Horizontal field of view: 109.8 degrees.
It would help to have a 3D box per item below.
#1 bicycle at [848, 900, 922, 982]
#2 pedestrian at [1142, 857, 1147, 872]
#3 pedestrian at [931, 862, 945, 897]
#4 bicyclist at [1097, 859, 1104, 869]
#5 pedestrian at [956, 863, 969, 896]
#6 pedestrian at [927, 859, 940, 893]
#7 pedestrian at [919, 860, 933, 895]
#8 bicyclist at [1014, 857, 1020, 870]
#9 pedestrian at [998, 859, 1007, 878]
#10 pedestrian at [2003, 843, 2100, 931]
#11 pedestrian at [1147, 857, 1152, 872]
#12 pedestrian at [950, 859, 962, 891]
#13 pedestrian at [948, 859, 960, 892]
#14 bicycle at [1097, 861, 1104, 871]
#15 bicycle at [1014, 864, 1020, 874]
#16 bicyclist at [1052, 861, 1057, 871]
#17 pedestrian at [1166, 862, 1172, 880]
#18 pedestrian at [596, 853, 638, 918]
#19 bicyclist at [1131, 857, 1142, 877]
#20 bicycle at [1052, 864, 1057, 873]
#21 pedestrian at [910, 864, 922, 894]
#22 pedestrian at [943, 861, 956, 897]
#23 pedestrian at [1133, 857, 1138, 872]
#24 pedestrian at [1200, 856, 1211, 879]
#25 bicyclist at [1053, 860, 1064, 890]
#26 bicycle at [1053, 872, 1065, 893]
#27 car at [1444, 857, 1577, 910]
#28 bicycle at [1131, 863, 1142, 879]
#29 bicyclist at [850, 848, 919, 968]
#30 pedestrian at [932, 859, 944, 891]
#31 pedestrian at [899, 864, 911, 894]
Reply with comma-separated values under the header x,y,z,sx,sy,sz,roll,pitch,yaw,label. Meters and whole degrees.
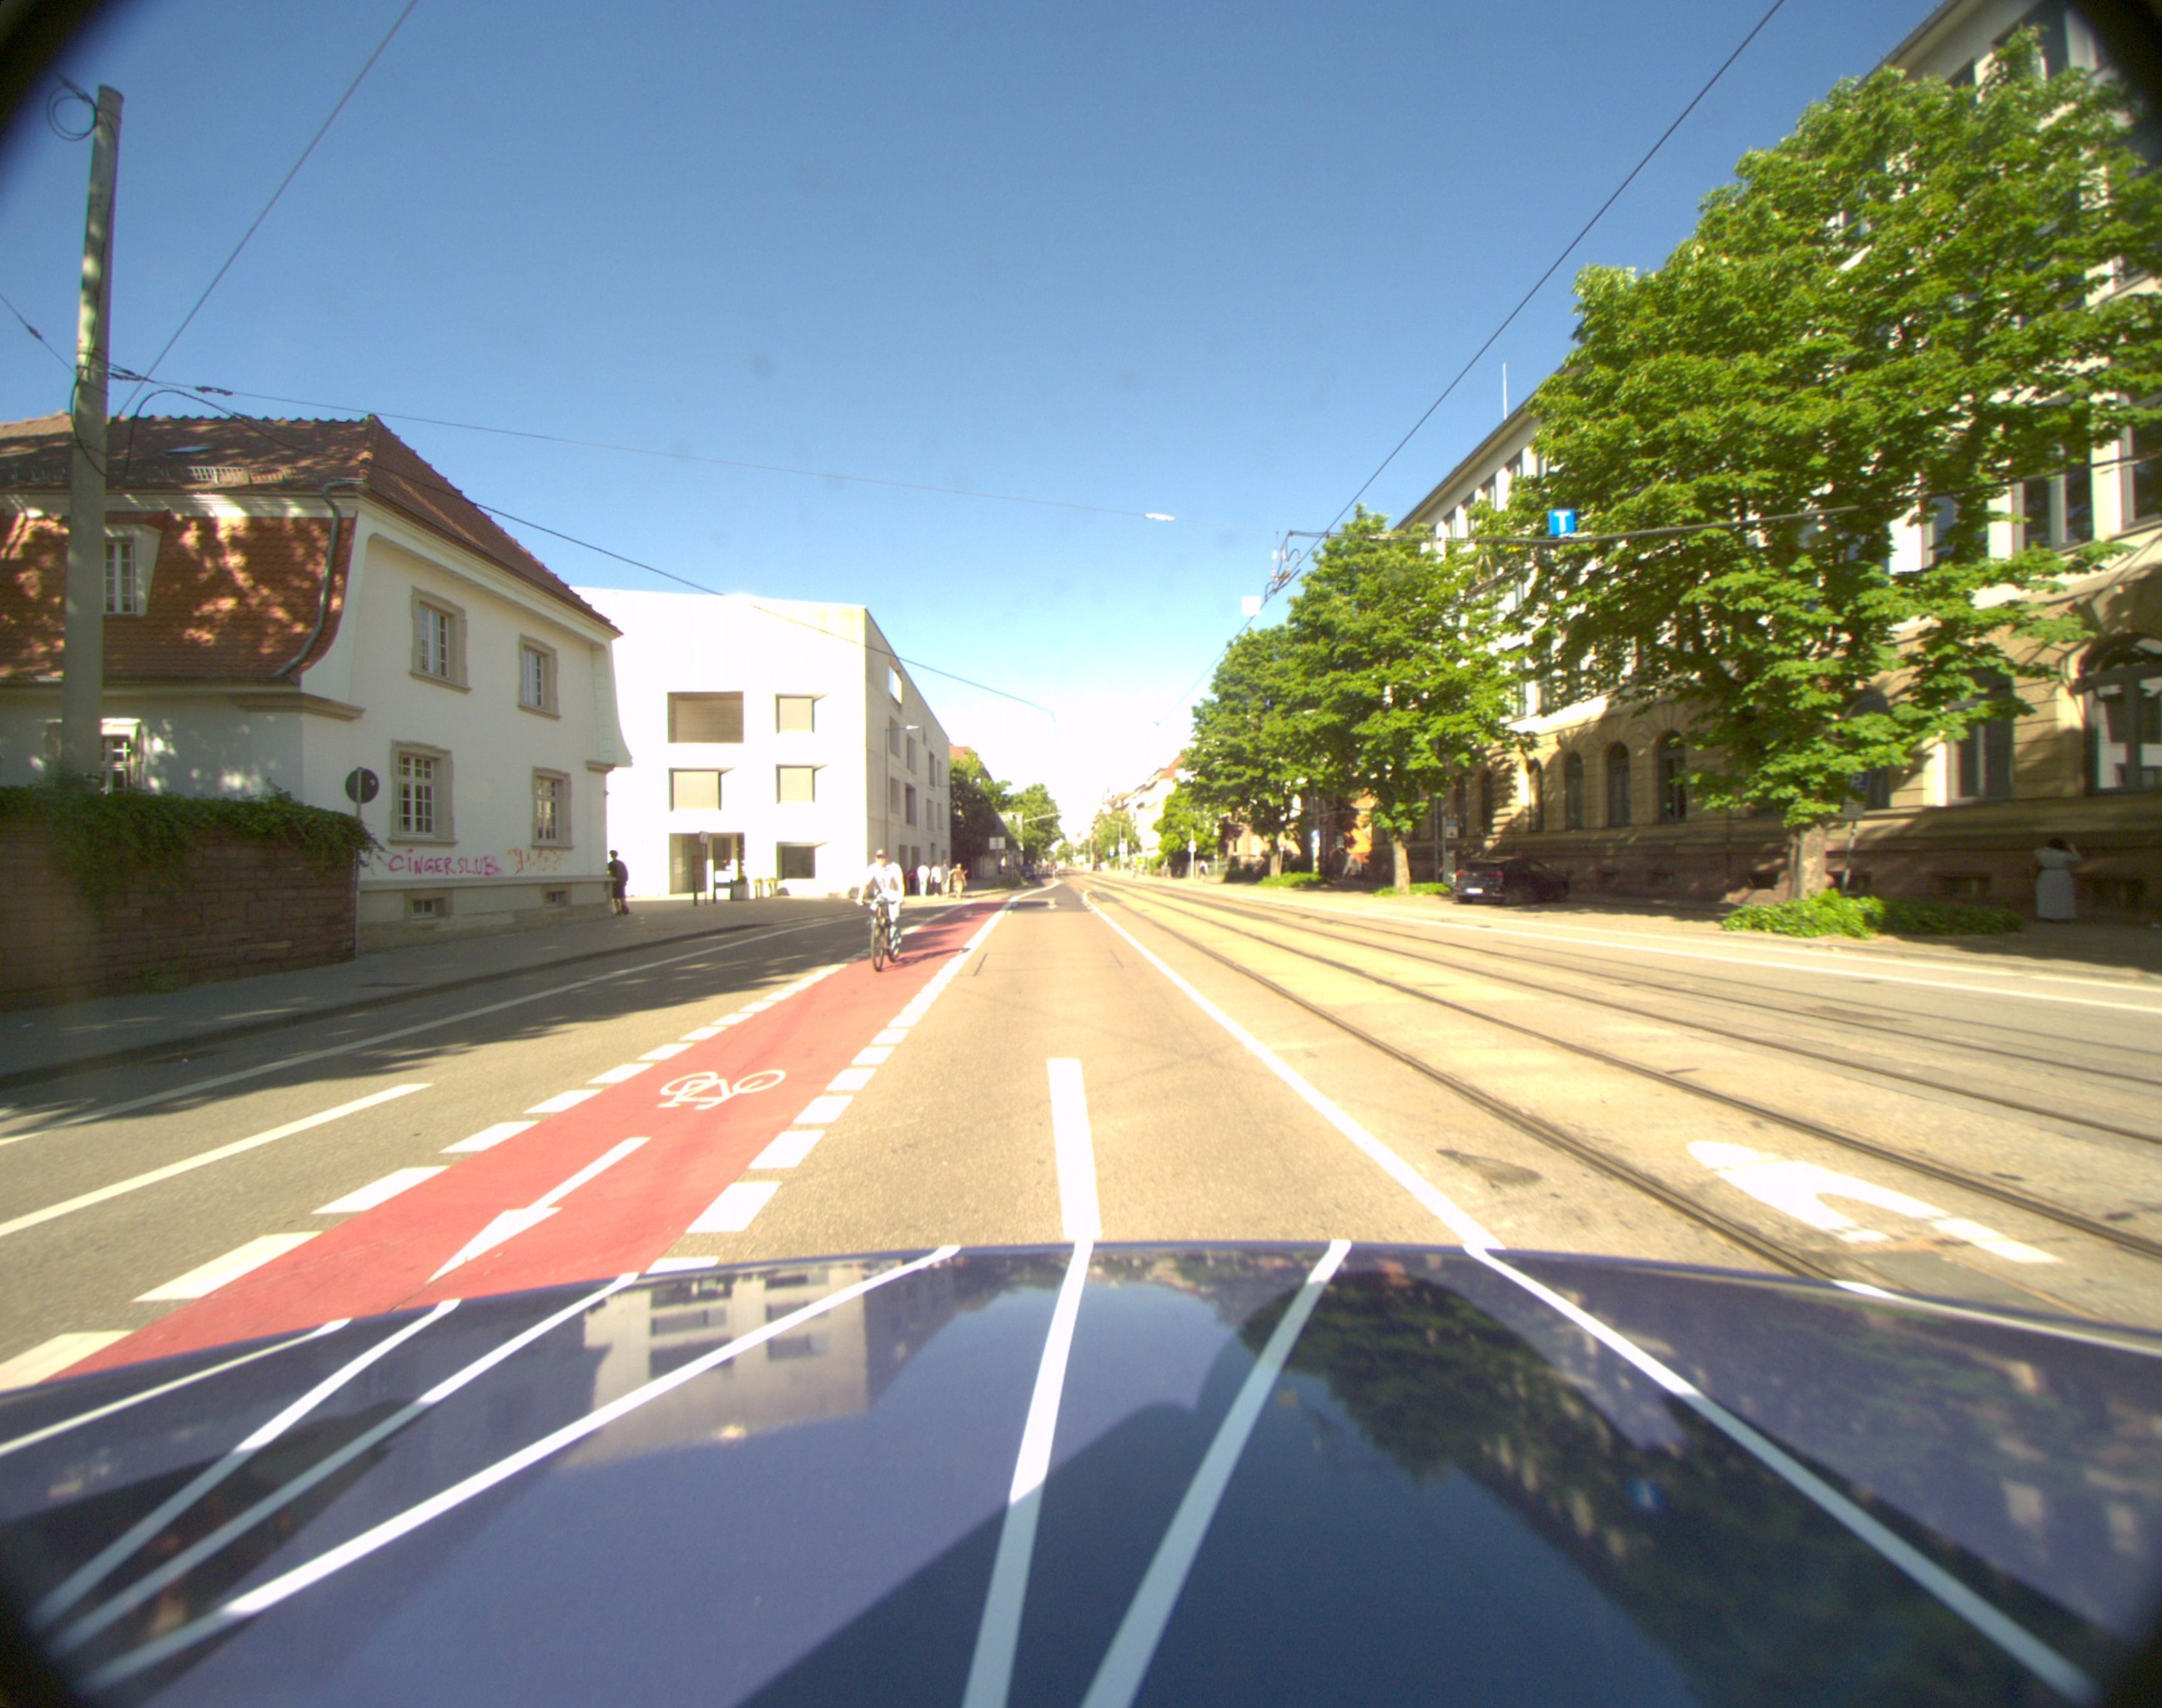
x,y,z,sx,sy,sz,roll,pitch,yaw,label
-3.013,1.303,11.826,0.612,1.071,1.830,-1,0,1,bicycle
8.099,1.341,96.929,0.578,1.845,0.684,0,0,-1,pedestrian
-7.392,1.298,39.303,0.587,1.795,0.545,-1,0,-3,pedestrian
3.361,1.787,132.199,1.003,1.712,0.984,-2,1,-2,bicyclist
-6.158,1.323,39.348,0.587,1.717,0.520,-1,0,-3,pedestrian
-7.919,1.159,40.880,0.587,1.795,0.582,-1,0,-3,pedestrian
-8.017,1.193,39.352,0.587,1.795,0.545,-1,0,-3,pedestrian
-11.046,1.574,131.673,0.813,2.194,0.984,-2,1,0,bicyclist
-7.107,1.296,69.021,0.678,1.728,0.931,0,0,0,pedestrian
18.351,0.613,14.383,0.858,1.557,0.673,-4,1,3,pedestrian
8.766,1.317,96.987,0.578,1.845,0.684,0,0,-1,pedestrian
-7.128,1.174,43.223,0.587,1.795,0.545,-1,0,-3,pedestrian
-6.964,1.189,41.733,0.587,1.795,0.582,-1,0,-3,pedestrian
3.375,2.090,132.210,1.003,1.672,2.984,-2,1,-2,bicycle
-11.010,2.562,131.610,0.830,1.694,2.171,-2,1,0,bicycle
-3.757,1.721,107.662,0.665,1.453,0.622,-2,1,2,bicyclist
9.316,1.821,80.394,0.578,1.845,0.654,0,0,-1,pedestrian
-13.244,0.892,21.710,0.754,1.823,0.733,0,0,-1,pedestrian
6.207,1.436,84.899,1.003,2.254,1.020,-2,1,1,bicyclist
-3.740,2.075,107.701,0.665,1.145,1.672,-2,1,2,bicycle
-8.772,1.311,40.432,0.534,1.557,0.520,-1,0,-3,pedestrian
-6.770,1.281,39.183,0.587,1.795,0.520,-1,0,-3,pedestrian
7.067,1.363,98.681,0.578,1.845,0.684,0,0,-1,pedestrian
10.104,1.125,61.702,0.728,1.845,0.654,0,0,1,pedestrian
-2.231,2.097,75.854,1.003,2.958,1.474,-2,1,0,bicyclist
-2.196,2.800,75.789,1.003,1.876,3.893,-2,1,0,bicycle
14.123,0.907,24.950,4.116,1.564,1.917,0,0,-29,car
6.226,1.933,84.943,1.003,1.672,2.984,-2,1,1,bicycle
-3.038,0.807,11.818,0.751,1.765,1.014,-1,0,1,bicyclist
-8.126,1.207,43.177,0.587,1.795,0.545,-1,0,-3,pedestrian
-9.367,1.330,40.491,0.534,1.557,0.520,-1,0,-3,pedestrian
